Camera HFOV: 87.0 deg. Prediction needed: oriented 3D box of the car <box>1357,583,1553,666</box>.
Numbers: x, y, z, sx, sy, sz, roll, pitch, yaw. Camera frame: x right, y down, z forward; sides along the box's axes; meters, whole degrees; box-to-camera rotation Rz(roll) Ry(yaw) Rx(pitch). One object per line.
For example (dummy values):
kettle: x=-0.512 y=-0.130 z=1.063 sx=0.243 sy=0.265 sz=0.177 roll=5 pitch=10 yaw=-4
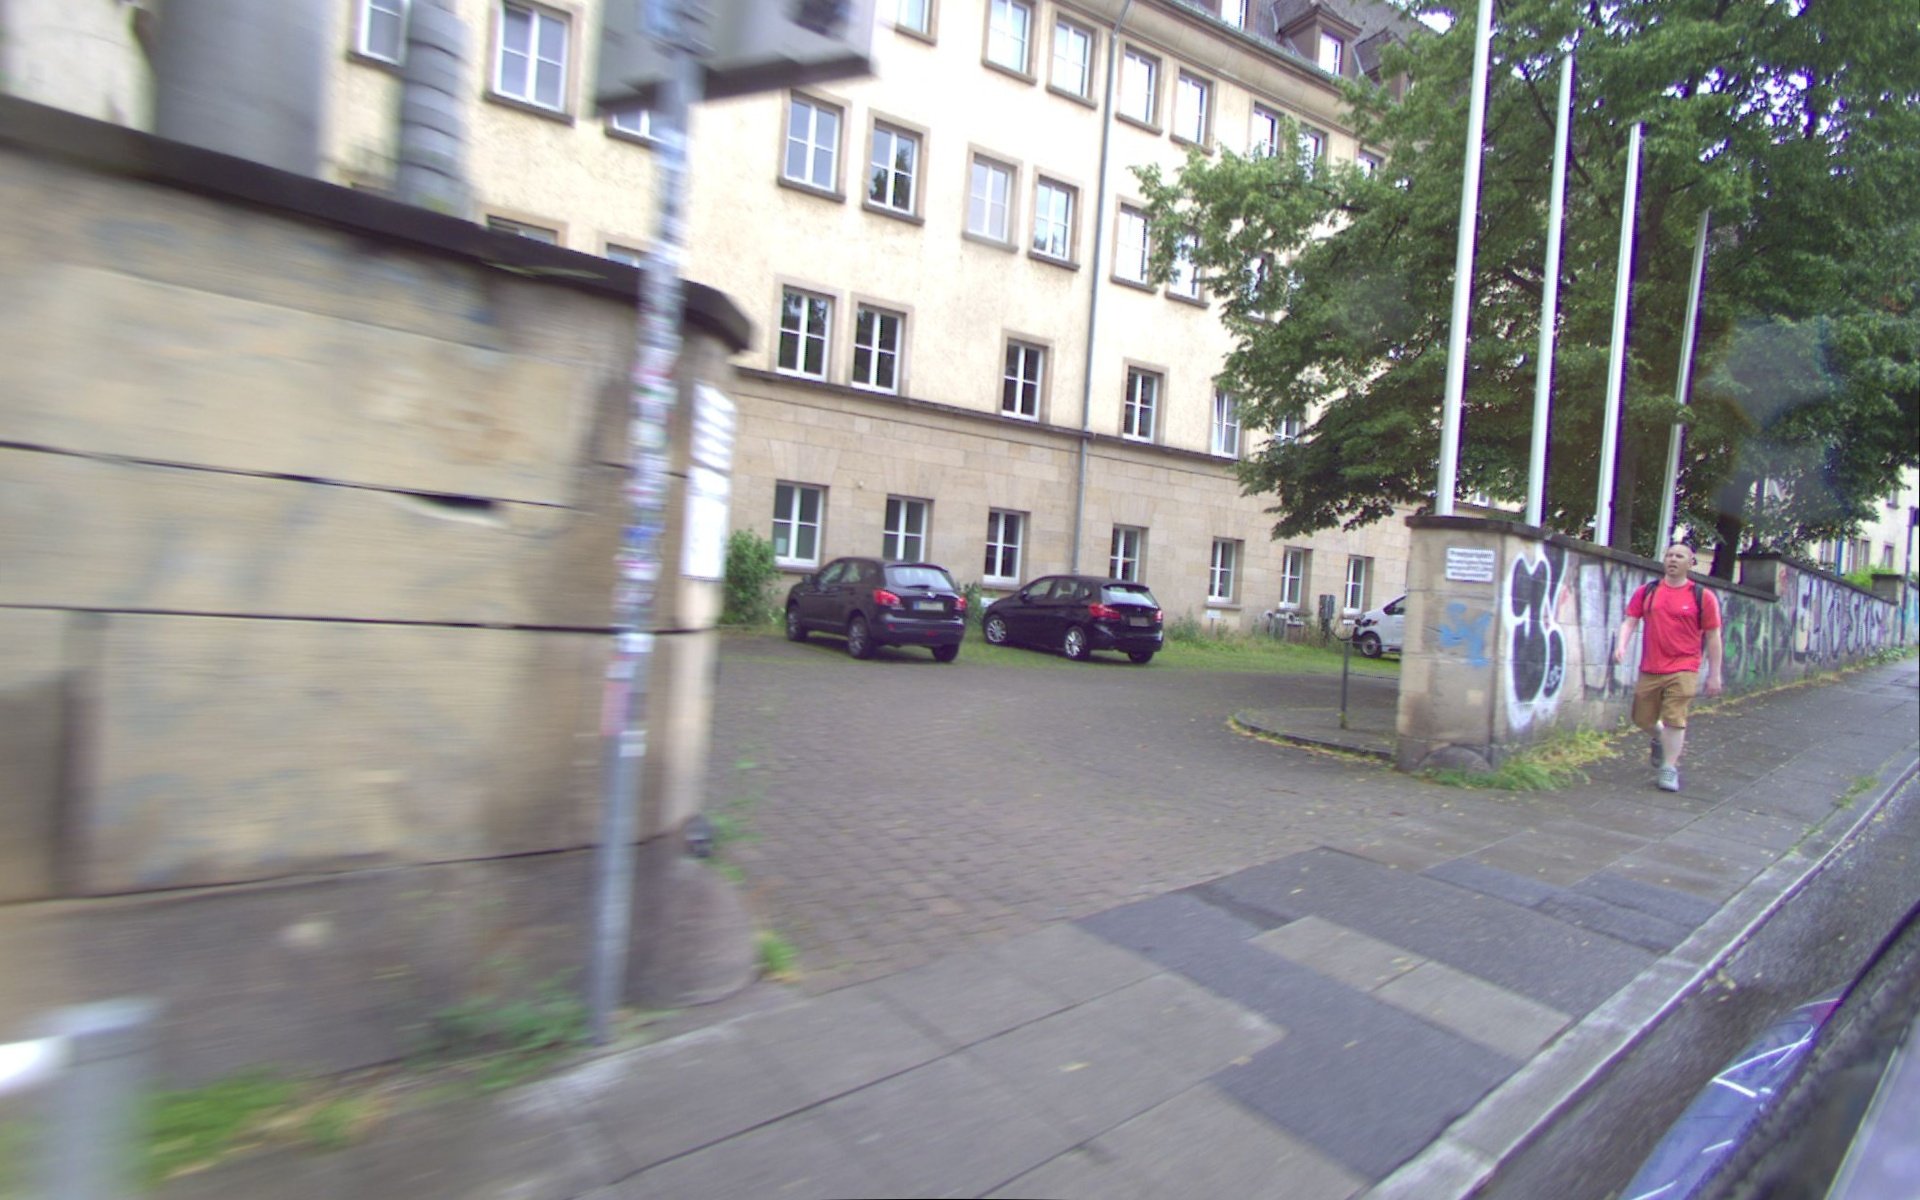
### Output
car: x=12.364 y=0.544 z=25.566 sx=1.759 sy=1.815 sz=4.144 roll=1 pitch=2 yaw=-29

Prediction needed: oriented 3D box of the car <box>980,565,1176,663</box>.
car: x=2.166 y=0.219 z=19.669 sx=1.597 sy=1.516 sz=3.953 roll=4 pitch=2 yaw=-32

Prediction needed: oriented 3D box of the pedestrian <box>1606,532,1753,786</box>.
pedestrian: x=5.276 y=0.392 z=7.423 sx=0.698 sy=1.742 sz=0.634 roll=0 pitch=3 yaw=-39

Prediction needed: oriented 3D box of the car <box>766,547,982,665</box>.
car: x=-1.618 y=0.013 z=17.177 sx=1.759 sy=1.607 sz=4.471 roll=3 pitch=2 yaw=-32
